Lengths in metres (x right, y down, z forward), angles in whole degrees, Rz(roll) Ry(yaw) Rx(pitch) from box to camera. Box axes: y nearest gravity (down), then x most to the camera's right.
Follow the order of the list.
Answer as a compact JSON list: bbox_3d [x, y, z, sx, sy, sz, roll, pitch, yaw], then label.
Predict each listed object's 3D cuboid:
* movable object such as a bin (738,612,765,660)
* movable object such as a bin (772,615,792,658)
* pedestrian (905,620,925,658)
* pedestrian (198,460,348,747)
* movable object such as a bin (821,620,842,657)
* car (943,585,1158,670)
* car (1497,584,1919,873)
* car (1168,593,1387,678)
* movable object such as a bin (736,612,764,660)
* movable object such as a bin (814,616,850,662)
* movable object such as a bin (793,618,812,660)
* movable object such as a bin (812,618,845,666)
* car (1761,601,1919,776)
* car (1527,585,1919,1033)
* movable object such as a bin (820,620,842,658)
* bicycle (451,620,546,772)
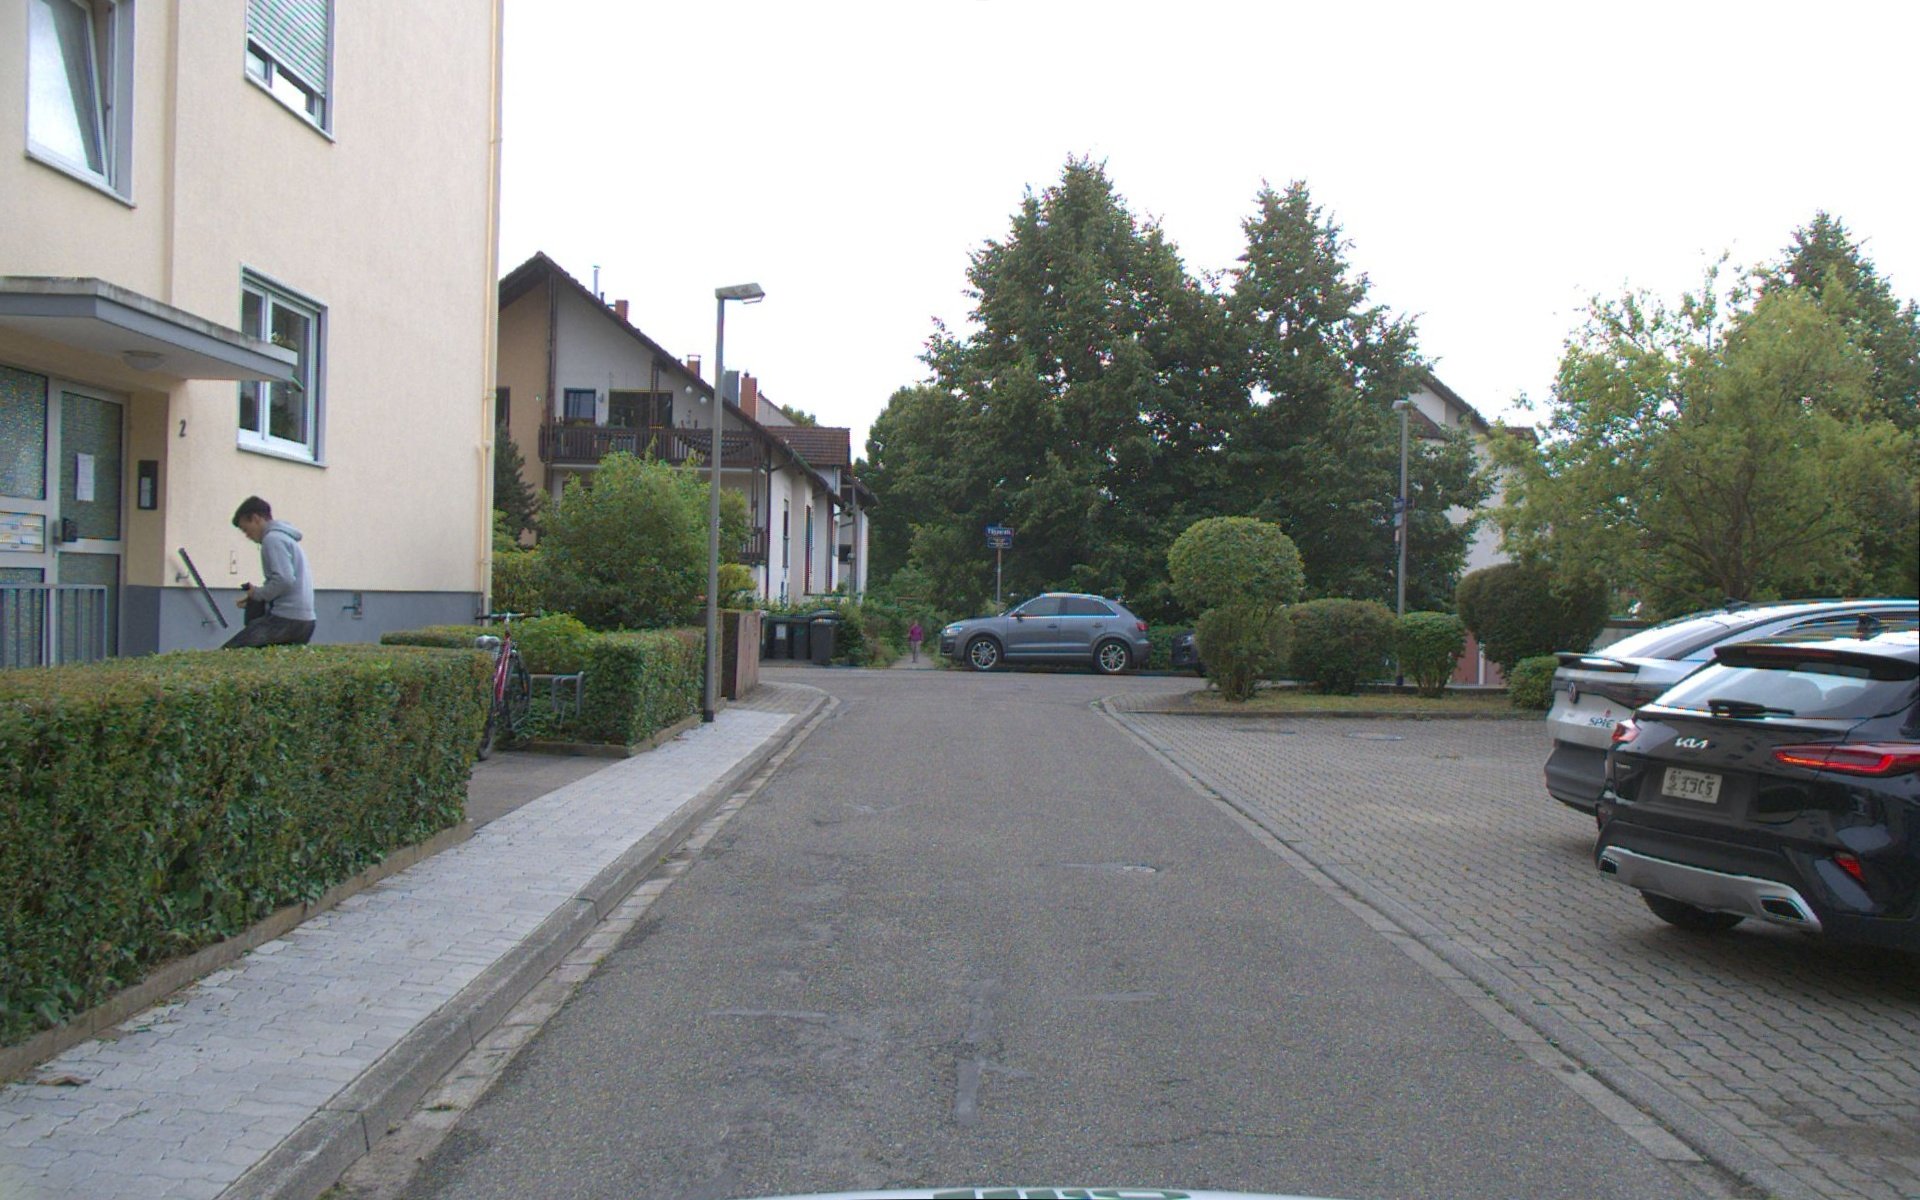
[{"bbox_3d":[-4.507,0.784,35.748,0.526,1.011,0.337,2,0,-3],"label":"movable object such as a bin"},{"bbox_3d":[-3.948,0.806,36.728,0.378,0.917,0.379,2,0,-3],"label":"movable object such as a bin"},{"bbox_3d":[-1.818,1.571,66.787,0.799,1.544,0.438,1,-1,-3],"label":"pedestrian"},{"bbox_3d":[-4.462,0.022,10.787,0.666,1.779,0.755,2,0,-7],"label":"pedestrian"},{"bbox_3d":[-2.882,0.860,37.136,0.450,0.811,0.379,2,0,-3],"label":"movable object such as a bin"},{"bbox_3d":[1.762,0.556,33.127,4.151,1.558,1.746,1,-2,-1],"label":"car"},{"bbox_3d":[5.924,0.747,10.412,4.443,1.616,1.988,1,0,1],"label":"car"},{"bbox_3d":[6.265,0.720,32.990,4.094,1.558,1.748,1,-2,4],"label":"car"},{"bbox_3d":[-4.494,0.767,35.364,0.526,1.011,0.379,2,0,-3],"label":"movable object such as a bin"},{"bbox_3d":[-2.790,0.841,36.048,0.719,0.970,0.584,2,0,-1],"label":"movable object such as a bin"},{"bbox_3d":[-3.493,0.867,36.758,0.378,0.905,0.379,2,0,-3],"label":"movable object such as a bin"},{"bbox_3d":[-2.798,0.892,35.166,0.625,0.970,0.723,2,0,-2],"label":"movable object such as a bin"},{"bbox_3d":[10.055,0.817,15.794,3.818,1.537,2.027,1,0,-1],"label":"car"},{"bbox_3d":[4.854,0.726,7.505,3.925,1.579,1.990,-1,0,-18],"label":"car"},{"bbox_3d":[-2.854,0.859,36.620,0.450,0.811,0.379,2,0,-3],"label":"movable object such as a bin"},{"bbox_3d":[-3.561,0.710,12.843,0.311,1.094,1.418,2,0,0],"label":"bicycle"}]
